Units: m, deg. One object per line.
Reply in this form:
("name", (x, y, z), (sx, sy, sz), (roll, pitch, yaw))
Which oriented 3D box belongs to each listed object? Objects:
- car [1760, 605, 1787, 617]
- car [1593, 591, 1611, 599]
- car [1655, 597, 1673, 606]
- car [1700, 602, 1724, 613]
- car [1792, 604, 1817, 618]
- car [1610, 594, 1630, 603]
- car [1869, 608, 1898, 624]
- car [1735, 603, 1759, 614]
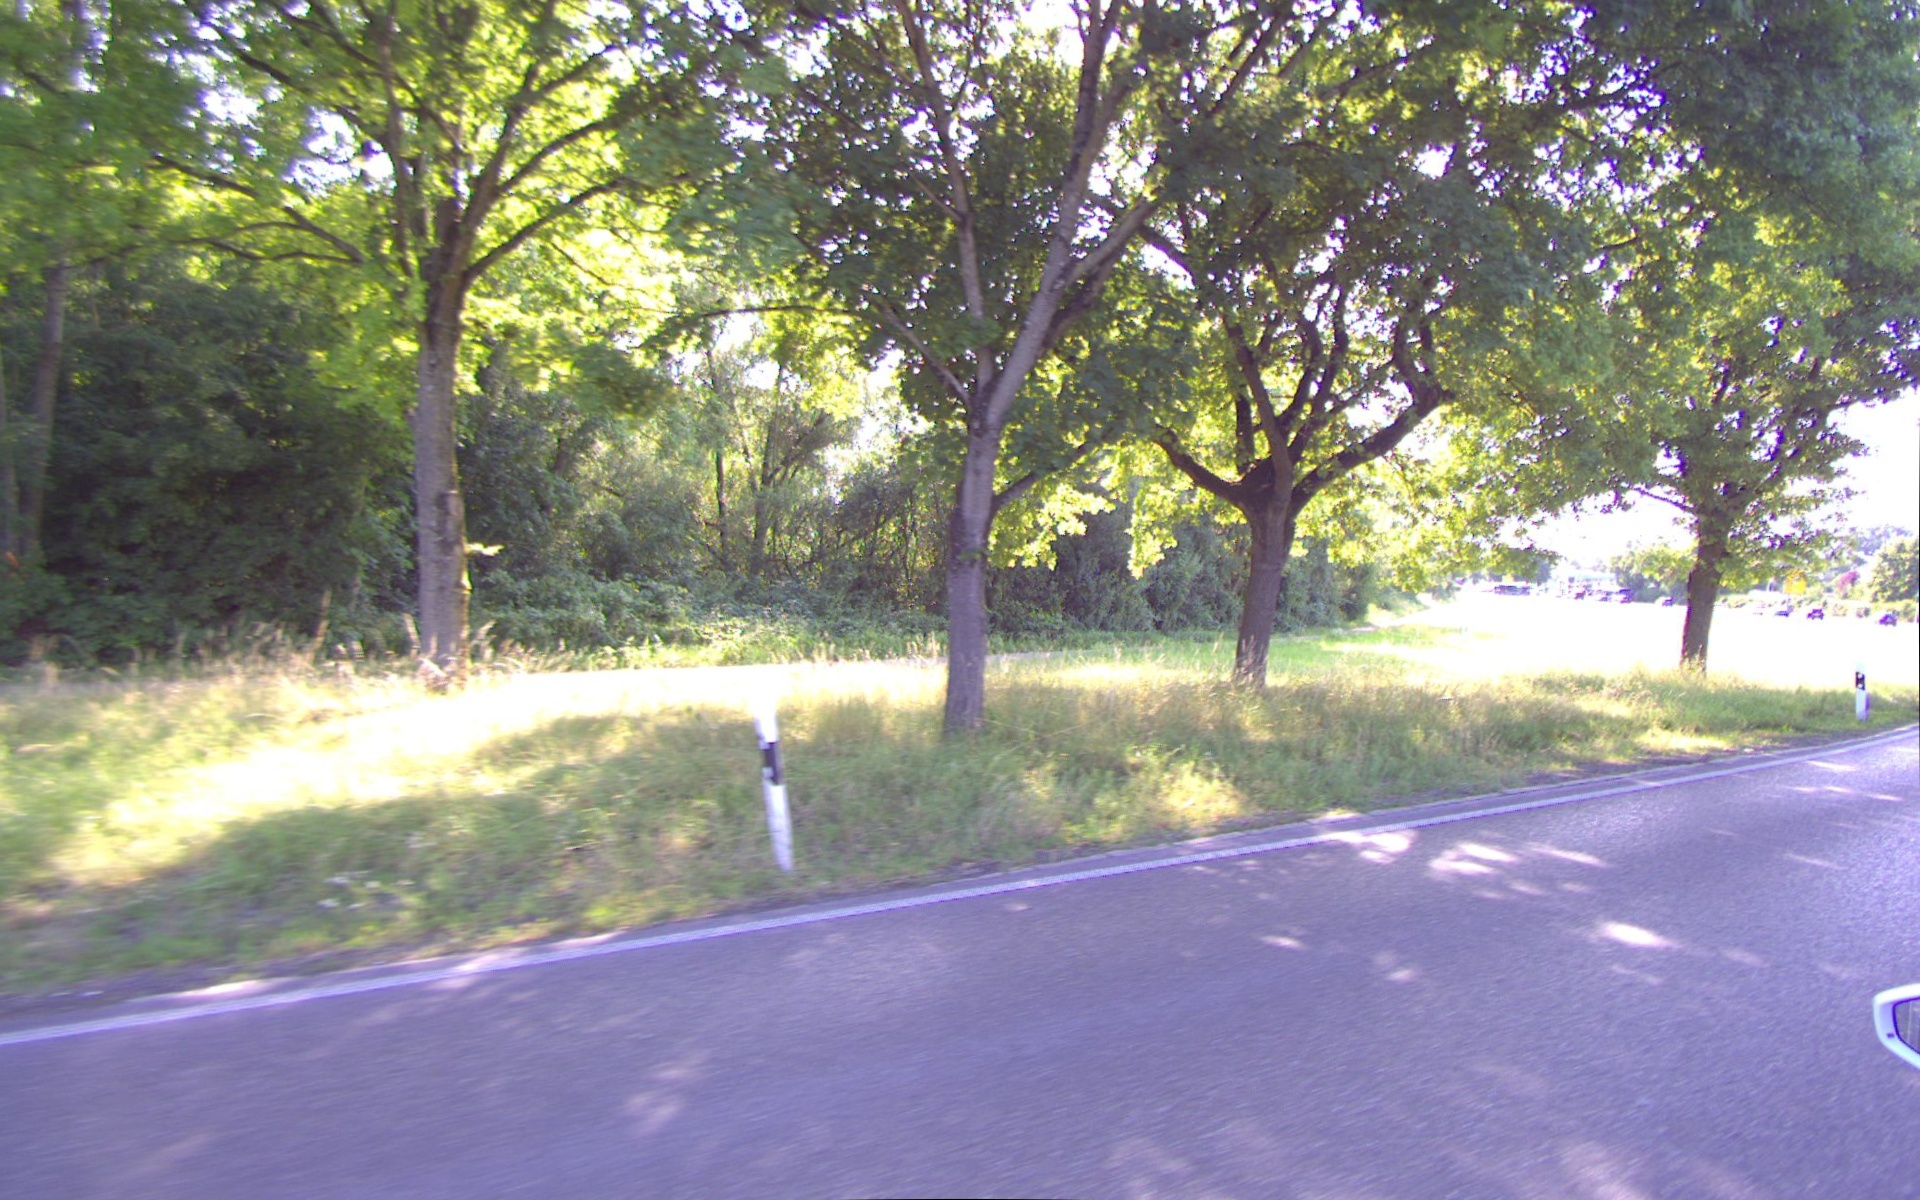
("car", (114.310, 1.583, 141.173), (1.651, 1.579, 3.872), (2, 0, 20))
("car", (131.922, -1.006, 206.408), (2.050, 1.621, 4.001), (2, 1, 16))
("car", (128.789, 0.294, 183.816), (1.699, 1.678, 3.871), (2, 0, 21))
("car", (121.744, 1.237, 162.658), (1.943, 1.678, 3.872), (2, 0, 20))
("car", (110.176, 1.432, 131.094), (1.495, 1.678, 3.869), (2, 0, 25))
("car", (129.287, -0.254, 196.730), (2.050, 1.621, 4.001), (2, 1, 16))
("car", (100.284, 1.748, 109.054), (1.497, 1.678, 3.864), (2, 0, 31))
("car", (117.285, 1.268, 149.761), (1.651, 1.579, 3.872), (2, 0, 20))
